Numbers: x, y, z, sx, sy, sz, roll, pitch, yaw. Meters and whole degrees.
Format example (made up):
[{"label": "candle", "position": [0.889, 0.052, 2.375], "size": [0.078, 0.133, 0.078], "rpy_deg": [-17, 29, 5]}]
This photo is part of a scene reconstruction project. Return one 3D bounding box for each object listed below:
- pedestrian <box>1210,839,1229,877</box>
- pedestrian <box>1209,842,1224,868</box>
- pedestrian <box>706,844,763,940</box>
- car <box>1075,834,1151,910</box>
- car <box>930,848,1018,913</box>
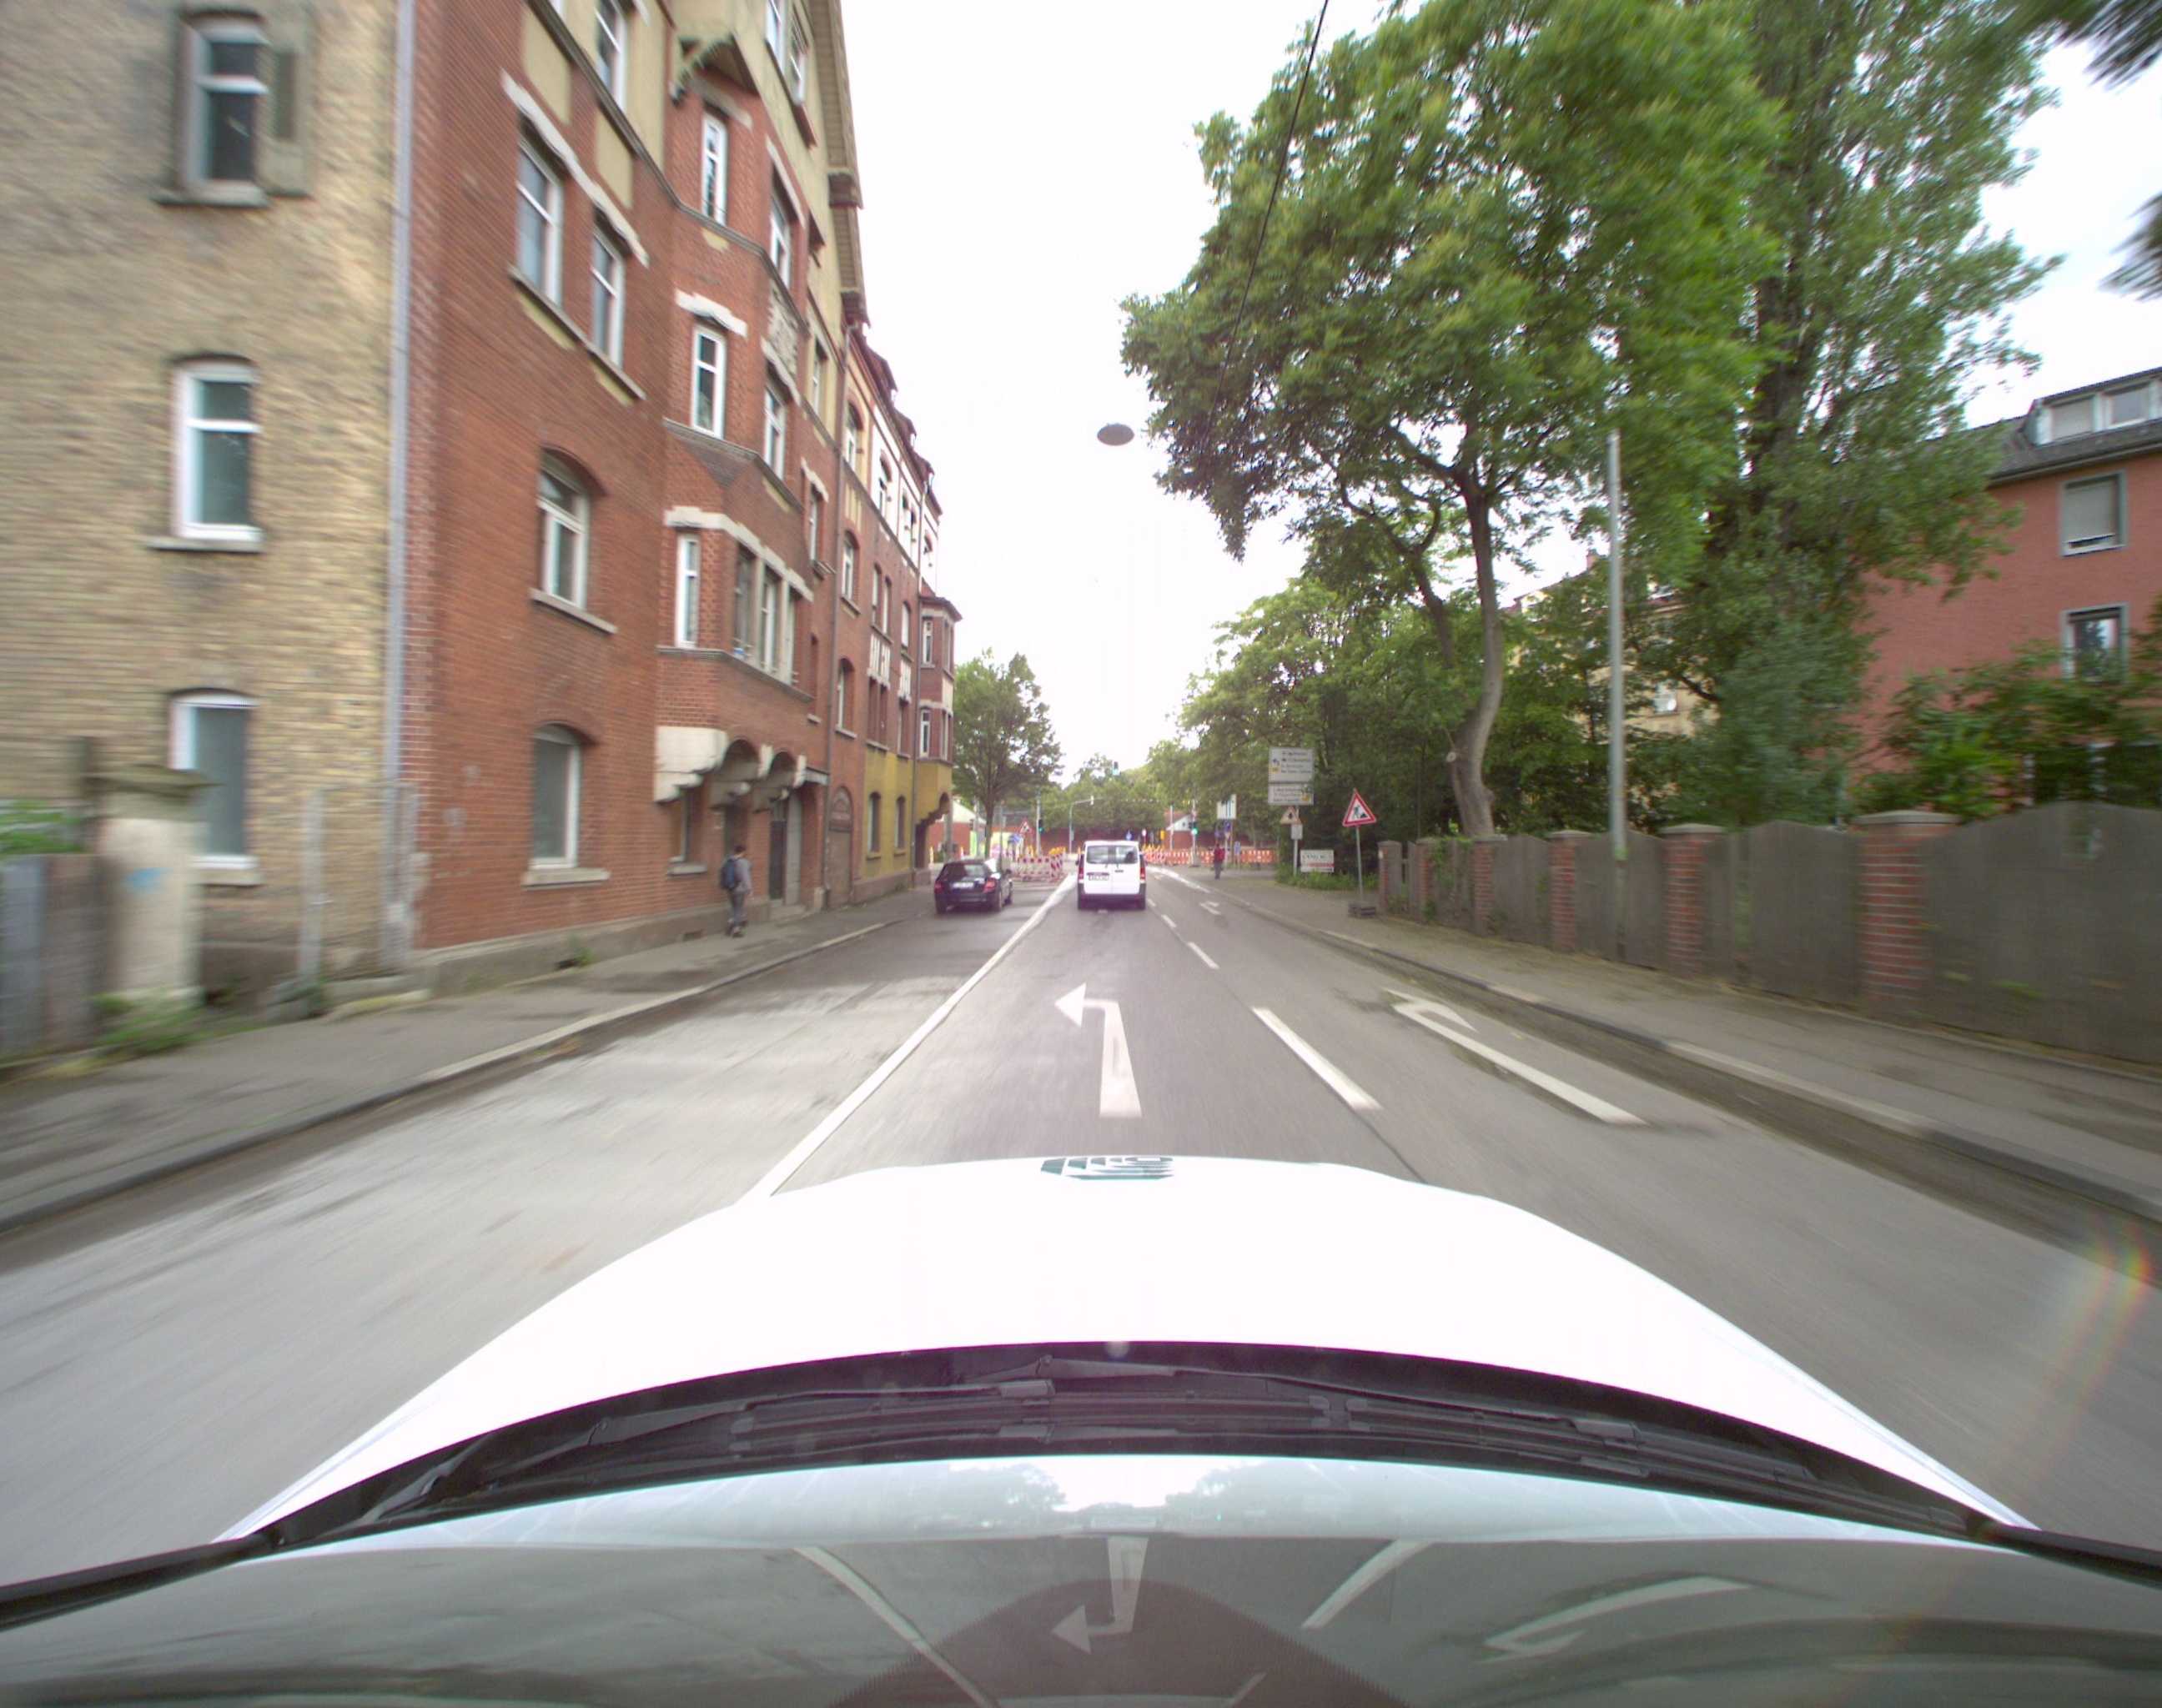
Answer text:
[{"label": "pedestrian", "position": [6.869, 0.187, 40.362], "size": [0.776, 1.831, 0.728], "rpy_deg": [-2, 1, 1]}, {"label": "pedestrian", "position": [8.942, 0.043, 53.812], "size": [0.730, 1.697, 0.836], "rpy_deg": [-1, 1, -7]}, {"label": "pedestrian", "position": [-6.065, 0.654, 14.291], "size": [0.657, 1.609, 0.633], "rpy_deg": [3, 1, 1]}, {"label": "car", "position": [0.885, 0.527, 23.795], "size": [1.910, 1.901, 4.701], "rpy_deg": [3, -1, 1]}, {"label": "car", "position": [-2.934, 0.671, 23.288], "size": [1.718, 1.485, 4.394], "rpy_deg": [1, 3, 2]}]
